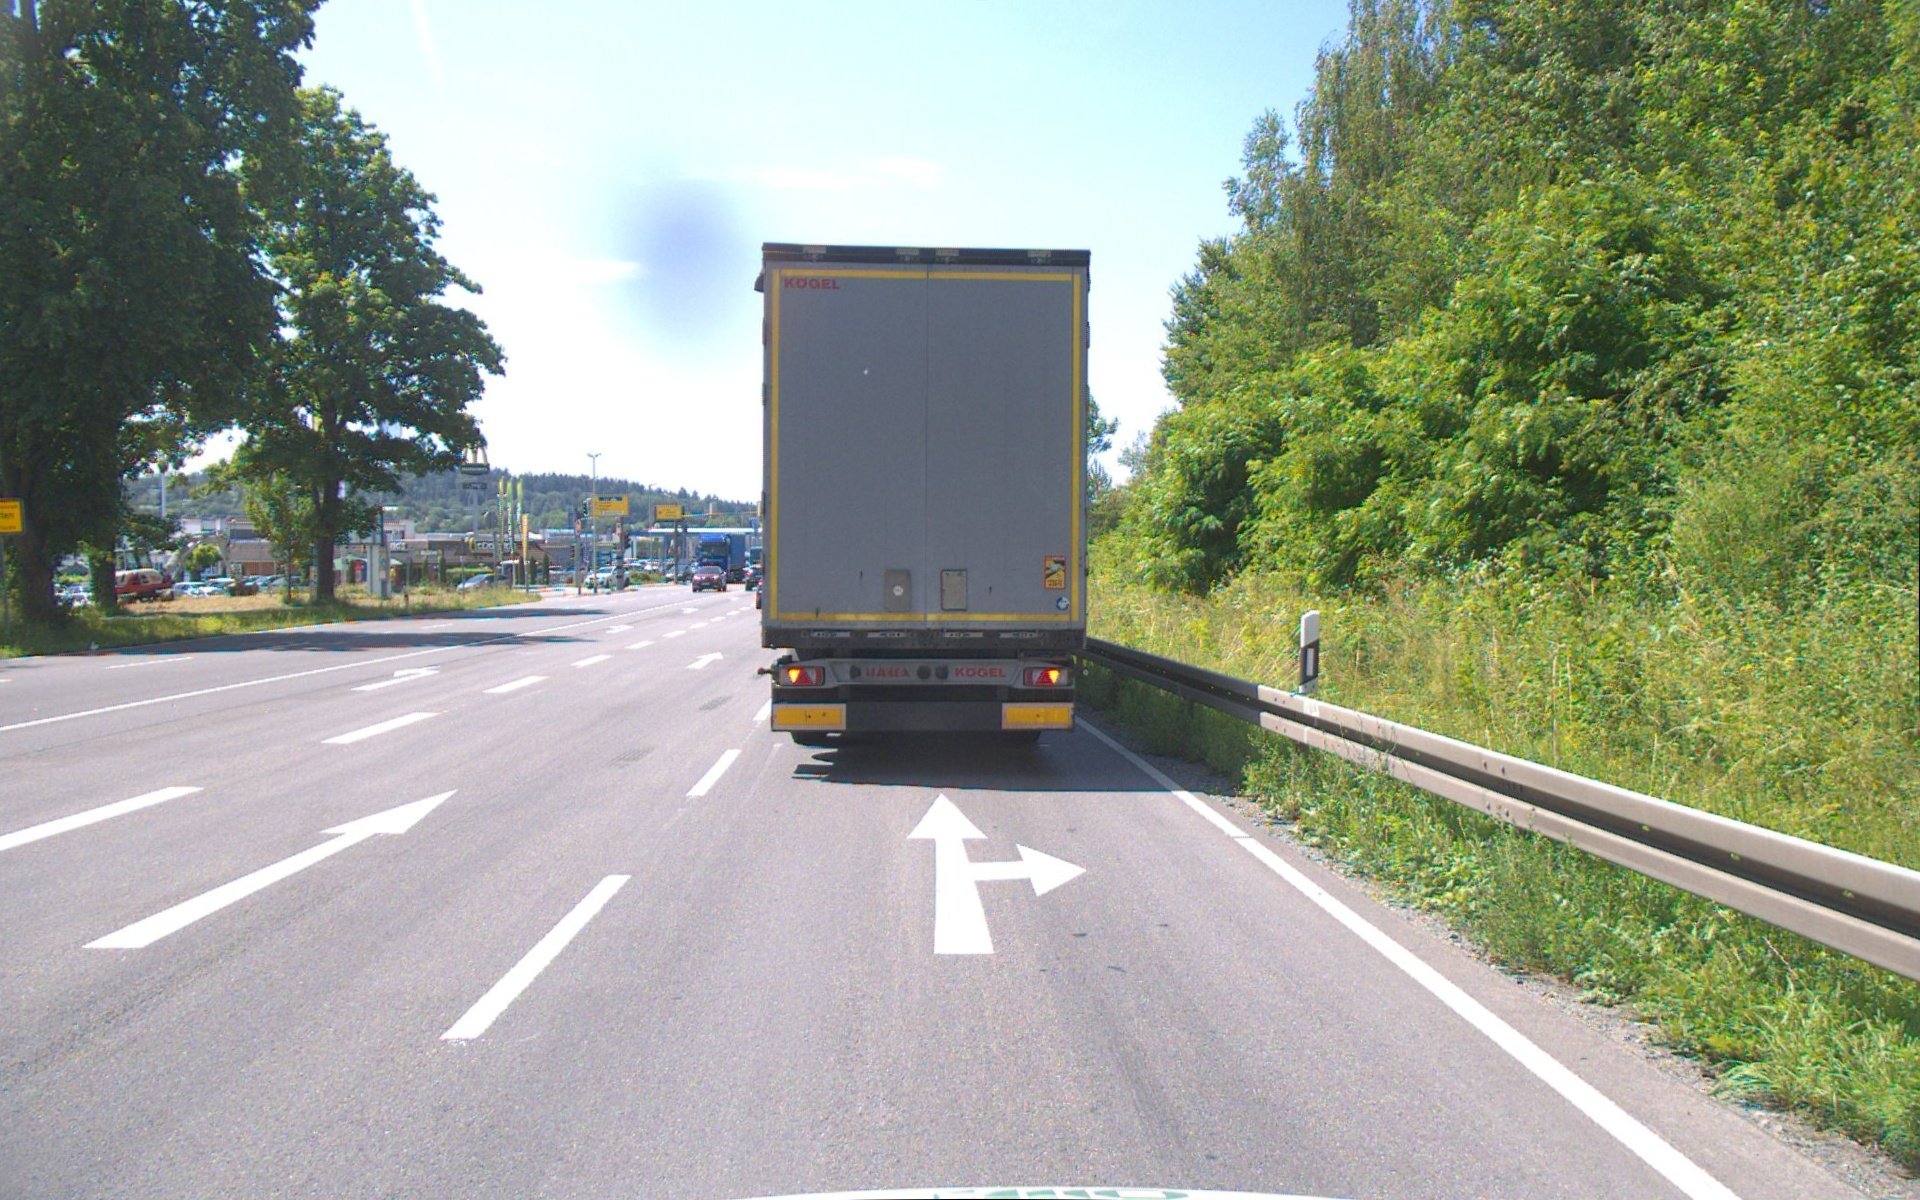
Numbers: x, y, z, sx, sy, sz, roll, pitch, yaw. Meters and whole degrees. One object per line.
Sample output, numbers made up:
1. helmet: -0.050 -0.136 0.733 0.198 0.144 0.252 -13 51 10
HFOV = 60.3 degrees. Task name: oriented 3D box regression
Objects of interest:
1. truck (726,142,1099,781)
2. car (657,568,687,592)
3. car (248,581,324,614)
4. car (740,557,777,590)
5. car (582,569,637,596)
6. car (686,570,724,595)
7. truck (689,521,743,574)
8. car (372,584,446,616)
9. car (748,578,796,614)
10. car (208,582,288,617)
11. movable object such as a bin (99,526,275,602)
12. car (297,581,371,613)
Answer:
1. truck: -0.598 -1.031 20.707 2.700 4.720 16.649 1 0 -2
2. car: -24.947 -1.744 143.184 1.953 2.049 3.999 1 0 -2
3. car: -34.959 -0.151 85.794 3.918 1.646 1.834 1 1 35
4. car: -12.626 -1.661 104.003 1.954 2.049 3.998 1 1 -3
5. car: -27.290 -1.346 128.924 1.958 2.049 3.989 1 1 33
6. car: -15.830 -1.090 102.756 1.865 1.535 3.763 0 1 -2
7. truck: -20.555 -4.308 140.217 2.909 4.249 16.566 0 1 -3
8. car: -29.860 0.001 89.574 3.918 1.646 1.834 1 1 35
9. car: -7.390 -0.151 65.337 1.497 1.364 3.330 1 0 0
10. car: -36.101 -0.047 83.873 3.918 1.680 1.993 1 1 35
11. movable object such as a bin: -35.504 -1.641 76.203 2.993 3.356 6.763 1 1 37
12. car: -33.309 -0.182 88.010 3.918 1.646 1.834 1 1 35
